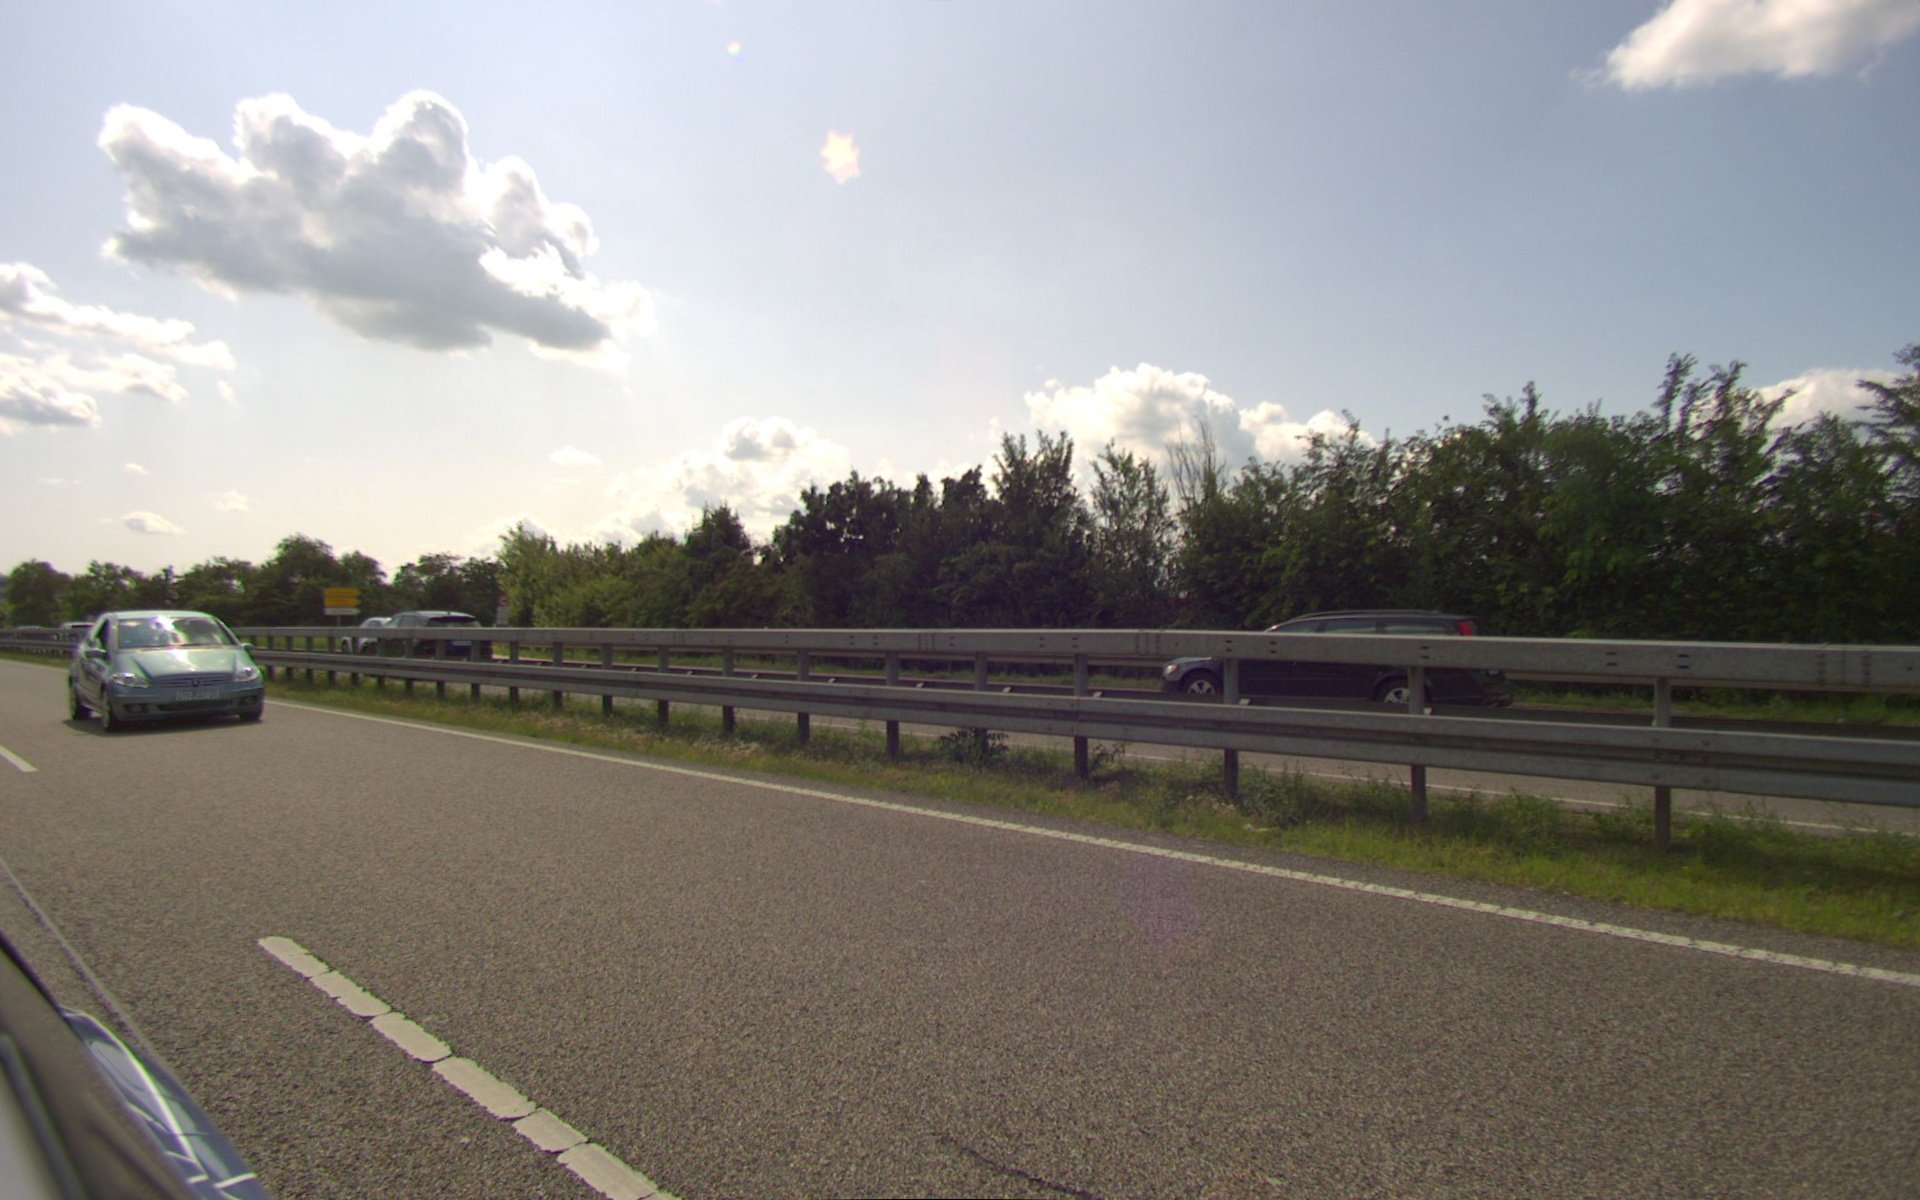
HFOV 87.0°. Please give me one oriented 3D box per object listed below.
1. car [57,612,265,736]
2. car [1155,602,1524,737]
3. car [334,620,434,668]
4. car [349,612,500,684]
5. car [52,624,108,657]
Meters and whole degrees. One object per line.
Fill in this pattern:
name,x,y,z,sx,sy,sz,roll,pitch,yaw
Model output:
car,-11.694,0.973,14.720,3.999,1.543,1.729,-1,-1,42
car,5.181,0.855,14.231,4.554,1.587,1.684,-1,0,41
car,-21.947,1.616,38.501,4.549,1.658,1.940,-1,0,42
car,-13.397,1.123,25.221,4.130,1.609,1.973,-1,0,41
car,-48.232,2.203,55.434,4.266,1.658,1.671,-1,0,40
